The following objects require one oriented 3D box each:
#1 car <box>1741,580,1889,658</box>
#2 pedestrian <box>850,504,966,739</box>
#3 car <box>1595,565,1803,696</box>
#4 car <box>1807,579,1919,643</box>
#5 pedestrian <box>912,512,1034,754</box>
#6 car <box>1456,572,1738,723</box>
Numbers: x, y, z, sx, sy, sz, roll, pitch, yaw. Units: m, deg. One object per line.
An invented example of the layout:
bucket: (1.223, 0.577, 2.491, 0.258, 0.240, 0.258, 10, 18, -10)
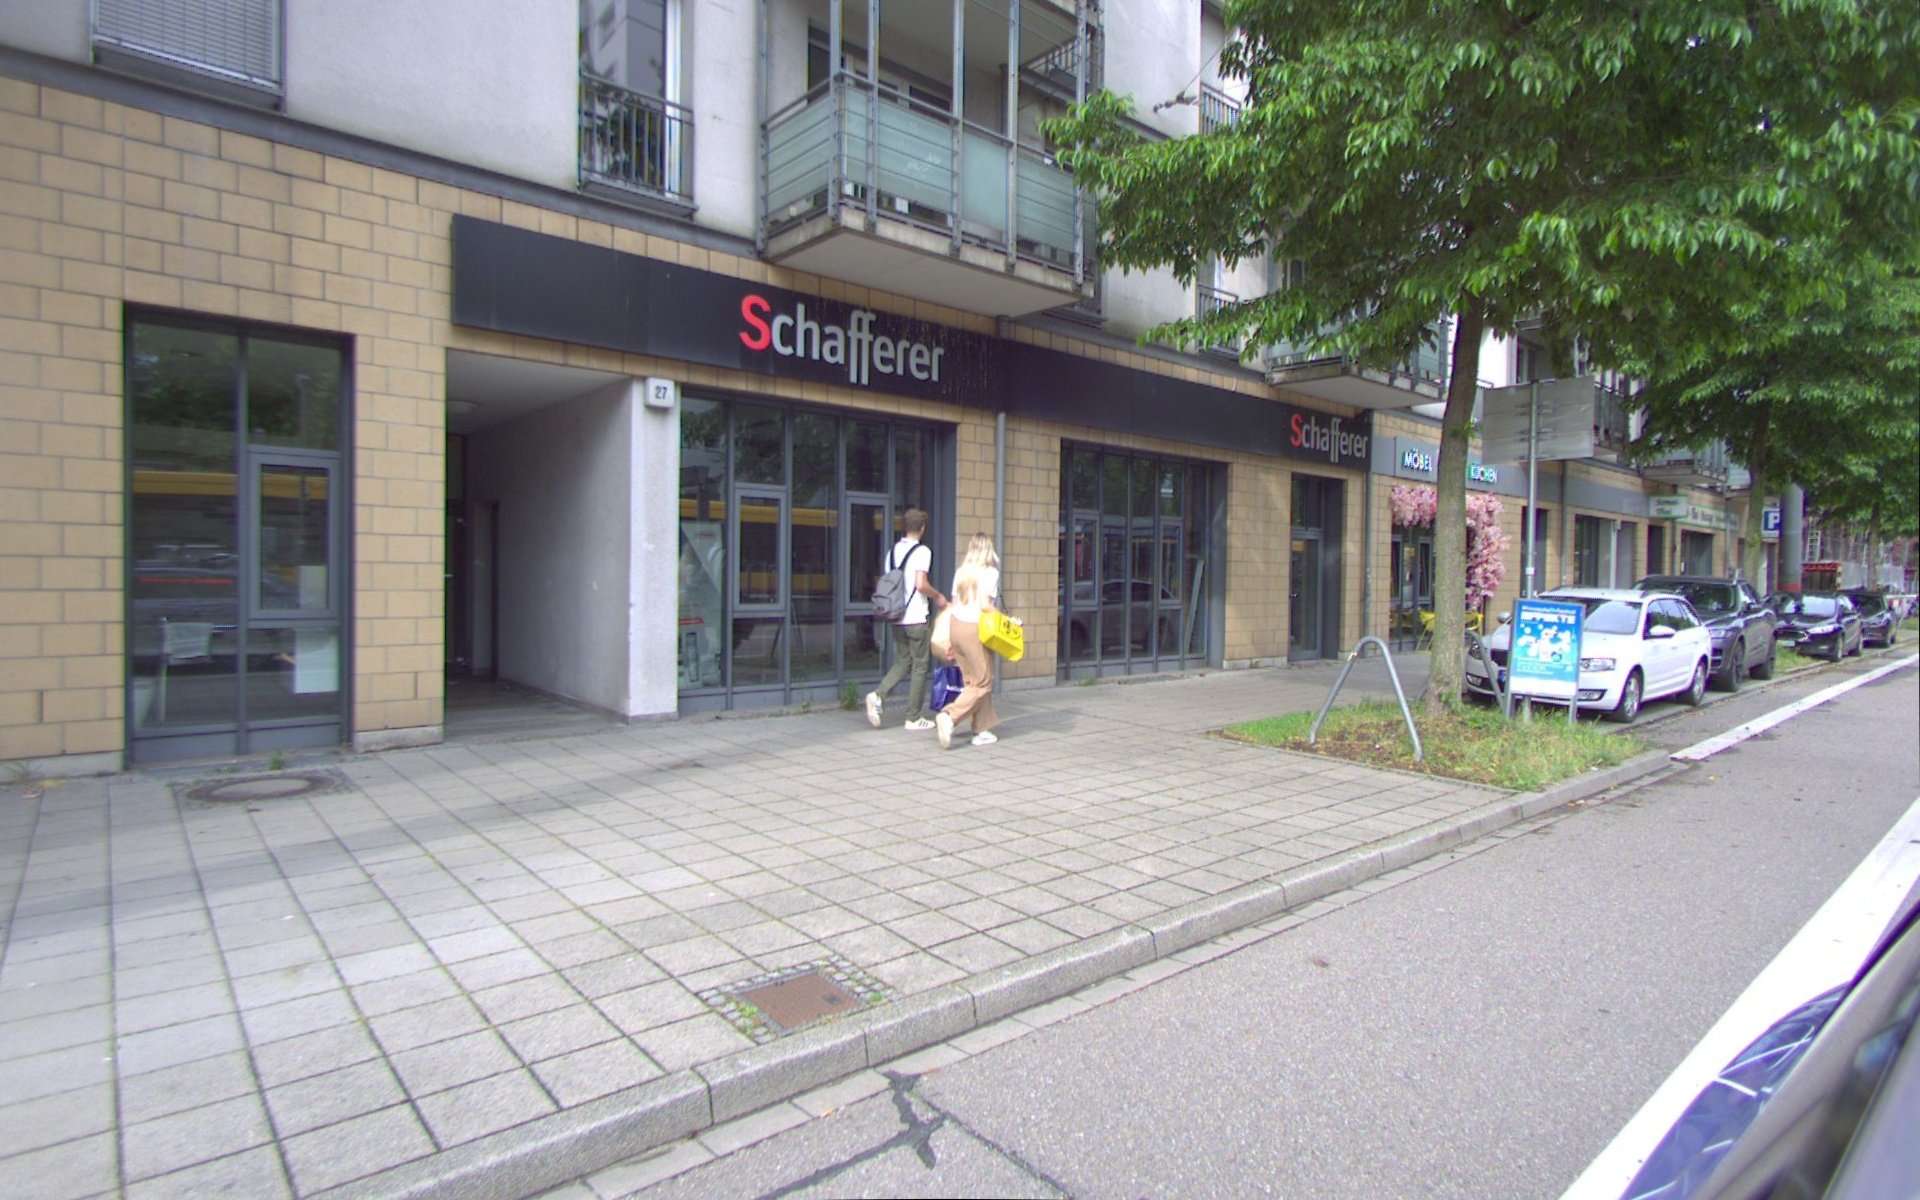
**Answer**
car: (18.699, 0.336, 22.066, 4.329, 1.459, 1.681, -1, 4, -40)
pedestrian: (-0.453, 0.163, 8.747, 0.724, 1.914, 0.677, 0, 2, -39)
car: (11.870, 0.363, 16.134, 4.632, 1.737, 1.715, -1, 4, -42)
car: (24.329, 0.235, 27.212, 4.315, 1.472, 1.800, -1, 5, -43)
pedestrian: (0.104, 0.235, 8.124, 0.724, 1.828, 0.617, 0, 2, -39)
car: (8.108, 0.462, 12.726, 4.312, 1.517, 1.681, -1, 4, -40)
